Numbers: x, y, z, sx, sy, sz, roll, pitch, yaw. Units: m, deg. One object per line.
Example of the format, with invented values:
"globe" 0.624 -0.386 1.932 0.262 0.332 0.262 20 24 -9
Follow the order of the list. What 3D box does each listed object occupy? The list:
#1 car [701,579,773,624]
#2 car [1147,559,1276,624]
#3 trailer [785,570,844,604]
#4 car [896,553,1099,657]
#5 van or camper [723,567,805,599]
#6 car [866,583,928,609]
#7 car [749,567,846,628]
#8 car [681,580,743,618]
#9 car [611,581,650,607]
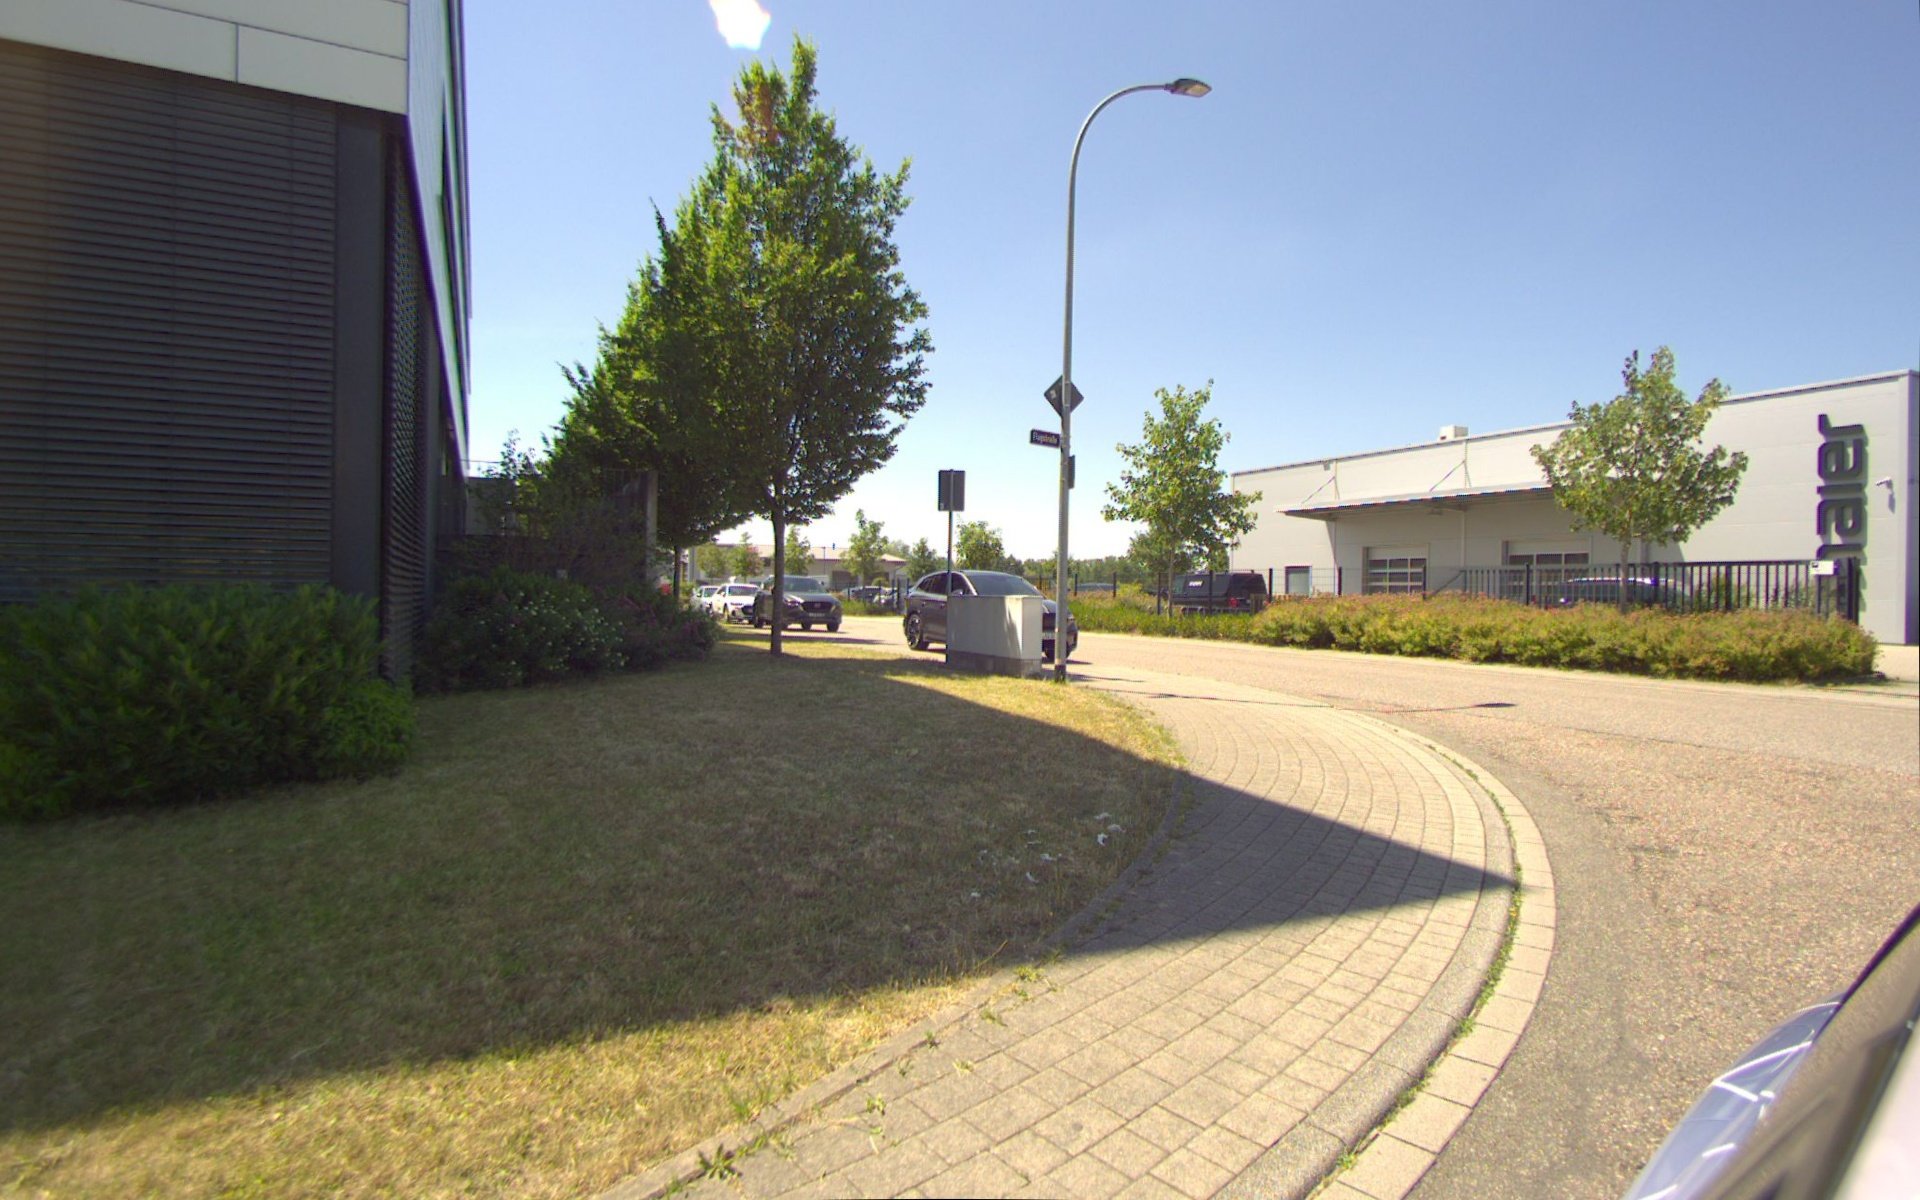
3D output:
"car" -8.246 0.027 37.211 1.686 1.500 4.038 3 -1 -25
"car" 8.895 -0.337 36.212 1.966 2.125 4.702 -2 1 -24
"trailer" -10.675 -0.990 74.248 3.920 2.389 1.729 -2 1 -29
"car" 0.537 0.082 19.068 1.772 1.683 4.615 3 -1 -27
"van or camper" -17.281 -1.466 89.083 6.658 2.718 2.579 0 0 -25
"car" -3.847 -0.246 62.038 3.312 1.517 1.908 -1 1 -26
"car" -5.019 -0.083 30.780 1.727 1.684 4.370 2 0 -25
"car" -10.300 -0.051 41.902 1.686 1.442 3.957 3 -1 -25
"car" -20.211 -0.361 62.016 1.662 1.495 4.275 2 0 -26
